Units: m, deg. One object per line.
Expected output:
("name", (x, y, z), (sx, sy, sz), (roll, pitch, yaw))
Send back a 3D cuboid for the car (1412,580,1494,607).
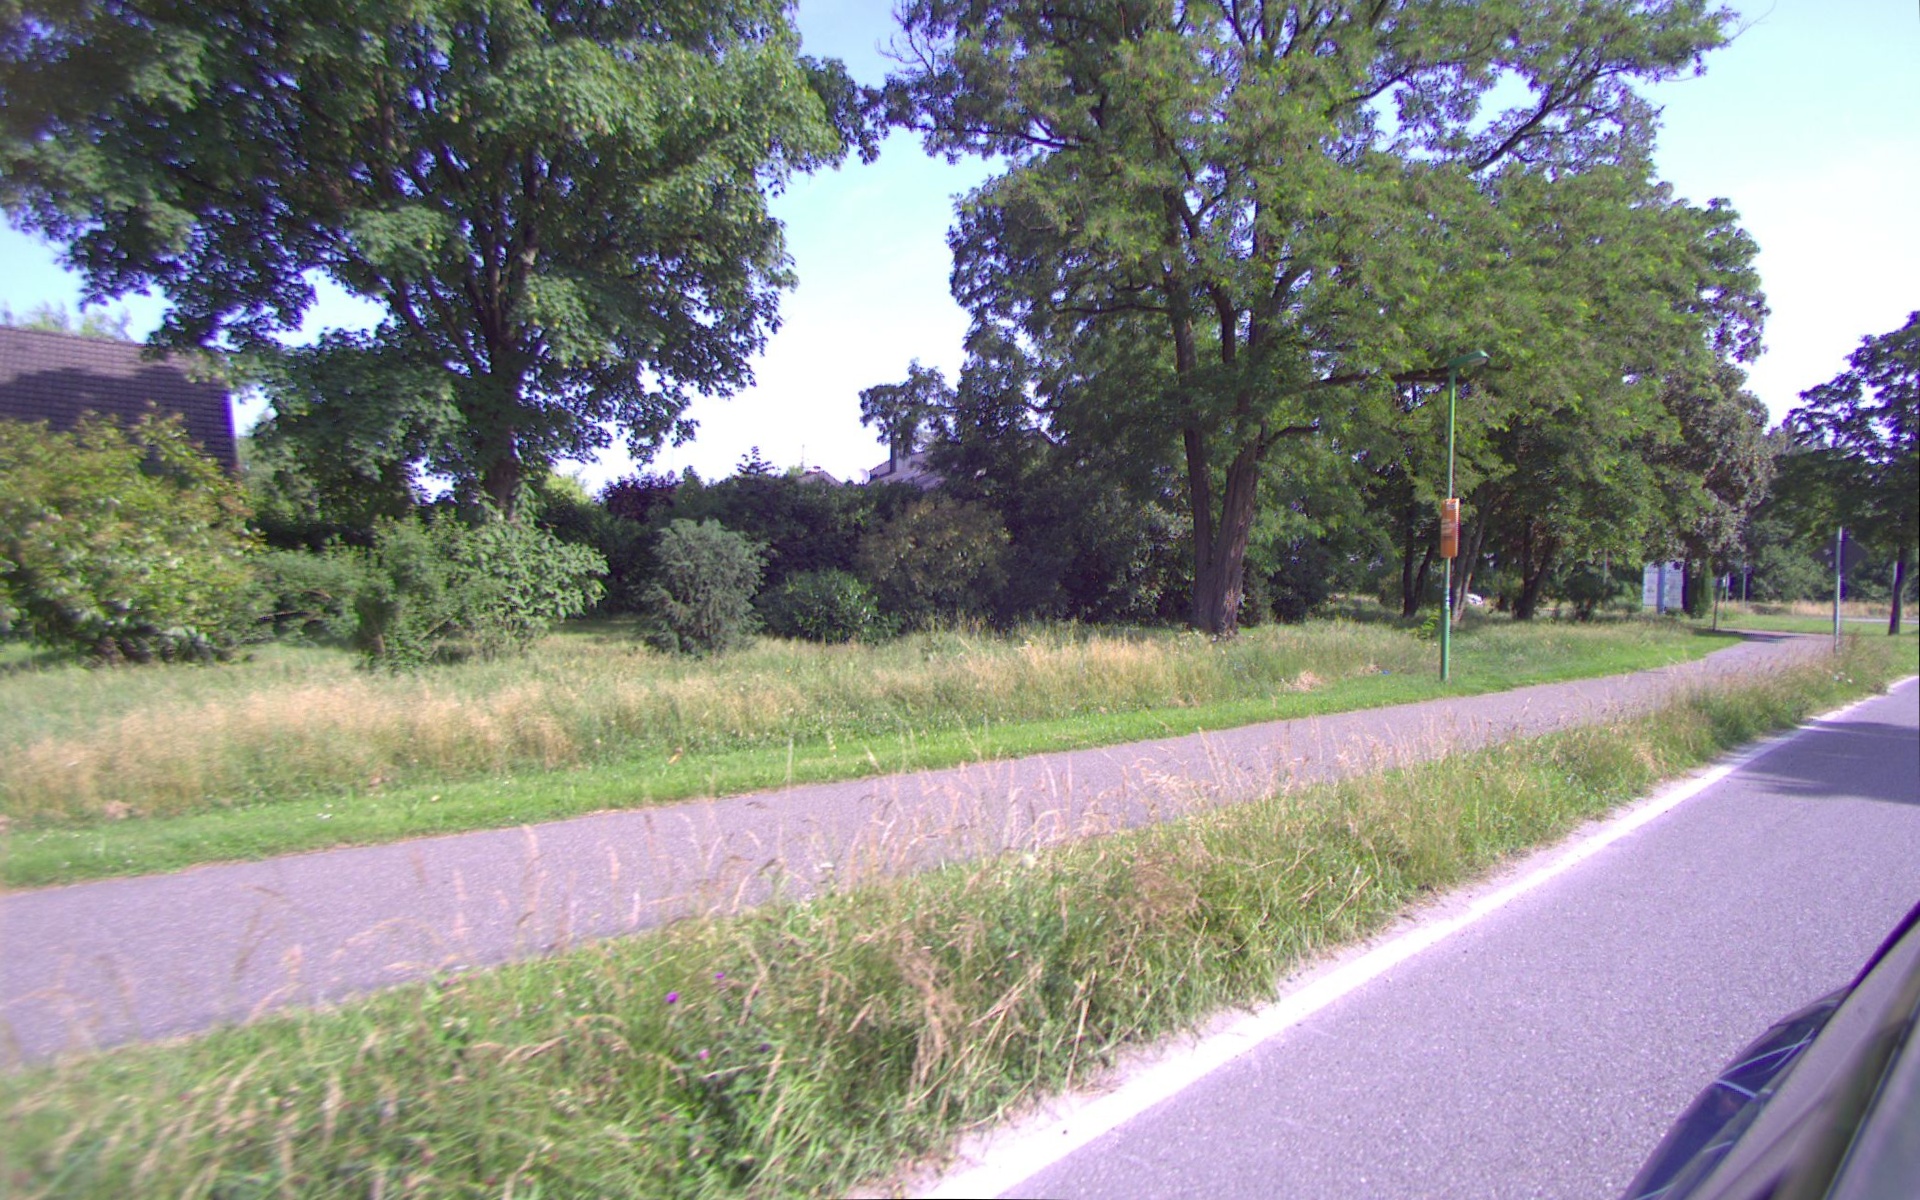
("car", (29.689, -0.399, 60.988), (4.116, 1.568, 1.876), (1, 1, 39))
